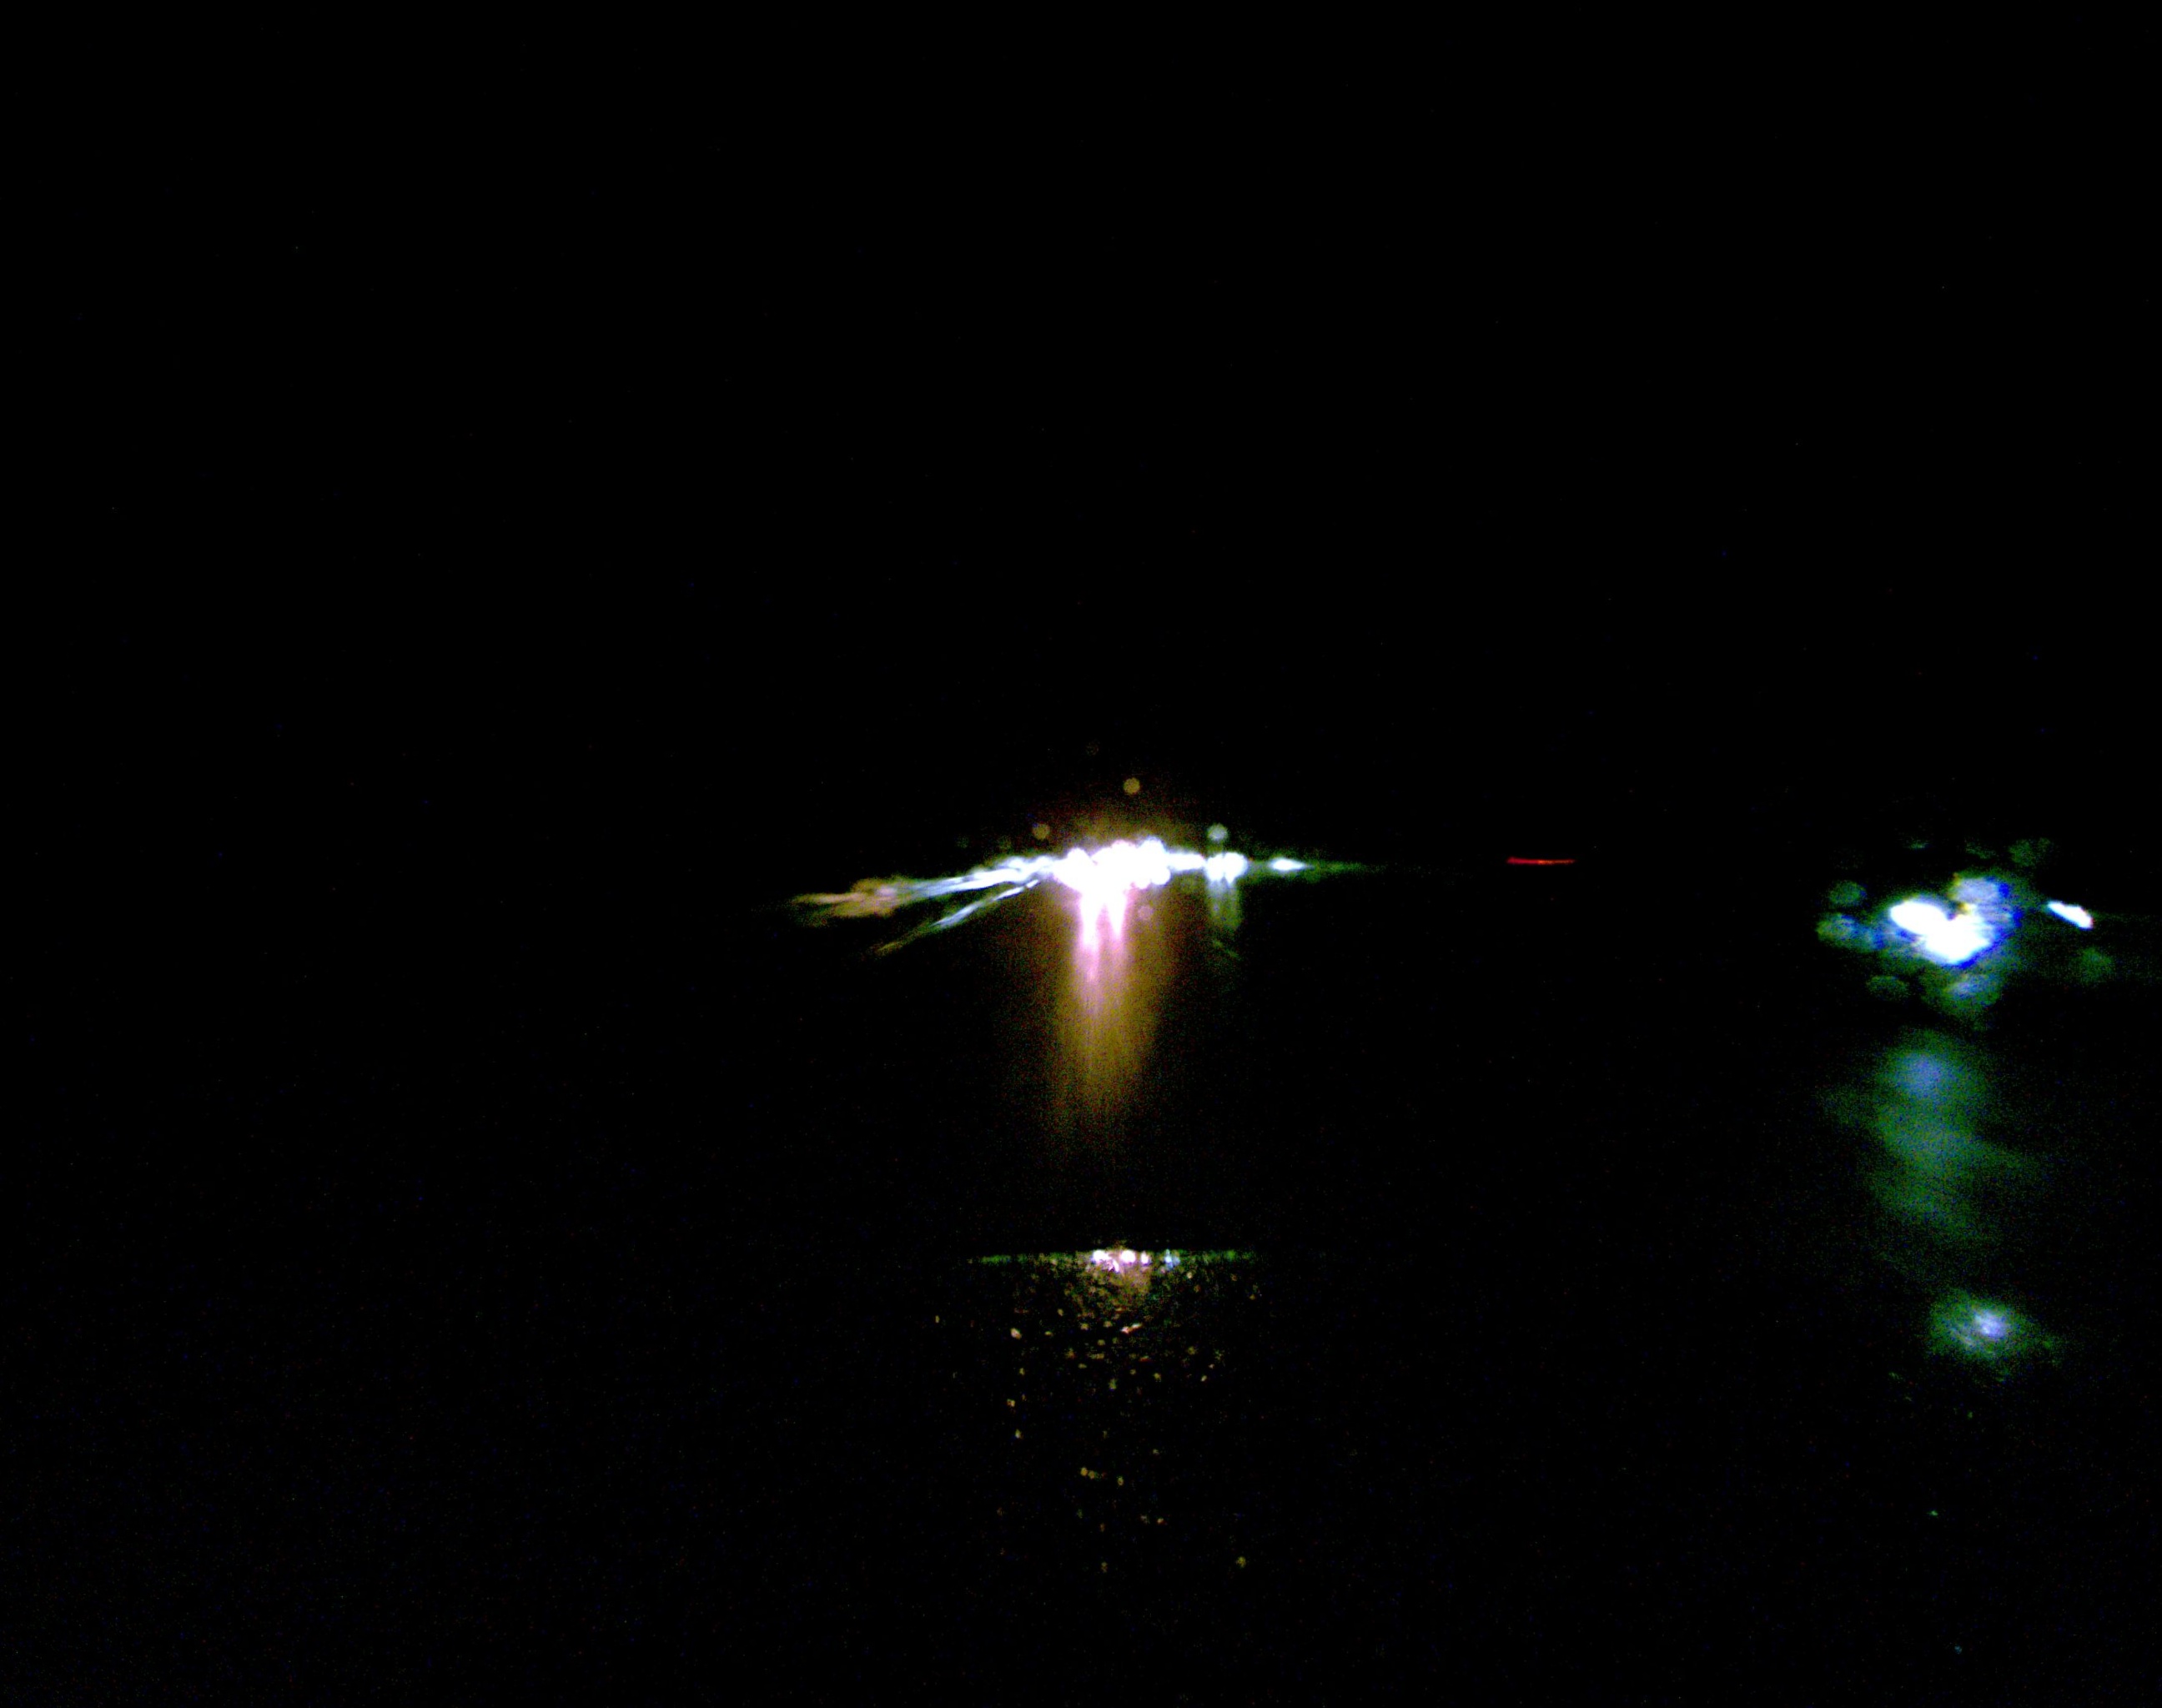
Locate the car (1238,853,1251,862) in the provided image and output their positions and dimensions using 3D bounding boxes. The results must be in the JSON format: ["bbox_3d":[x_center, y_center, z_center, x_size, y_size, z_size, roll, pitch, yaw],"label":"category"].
[{"bbox_3d":[33.912,0.725,157.742,1.884,1.548,4.460,-2,1,0],"label":"car"}]

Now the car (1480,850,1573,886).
[{"bbox_3d":[21.476,0.622,36.836,1.884,1.548,4.460,-2,1,0],"label":"car"}]

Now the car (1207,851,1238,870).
[{"bbox_3d":[12.833,0.564,69.149,1.998,1.551,4.588,-2,1,2],"label":"car"}]

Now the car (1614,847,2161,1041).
[{"bbox_3d":[7.972,0.692,7.952,1.998,1.433,4.000,-2,1,1],"label":"car"}]

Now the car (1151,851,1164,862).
[{"bbox_3d":[13.964,0.472,138.262,1.998,1.797,4.000,-2,1,2],"label":"car"}]

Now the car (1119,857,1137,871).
[{"bbox_3d":[5.881,1.269,94.917,1.998,1.551,4.588,-2,1,2],"label":"car"}]

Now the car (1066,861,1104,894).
[{"bbox_3d":[0.210,1.015,33.517,1.525,1.256,3.369,-2,1,1],"label":"car"}]

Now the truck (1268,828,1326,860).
[{"bbox_3d":[29.964,-1.373,106.385,3.508,3.865,17.180,-2,1,1],"label":"truck"}]

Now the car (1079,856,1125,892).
[{"bbox_3d":[0.967,0.947,36.021,1.998,1.542,4.001,-2,-2,1],"label":"car"}]

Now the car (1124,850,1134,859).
[{"bbox_3d":[10.215,0.082,160.979,1.998,1.797,4.000,-2,1,2],"label":"car"}]
